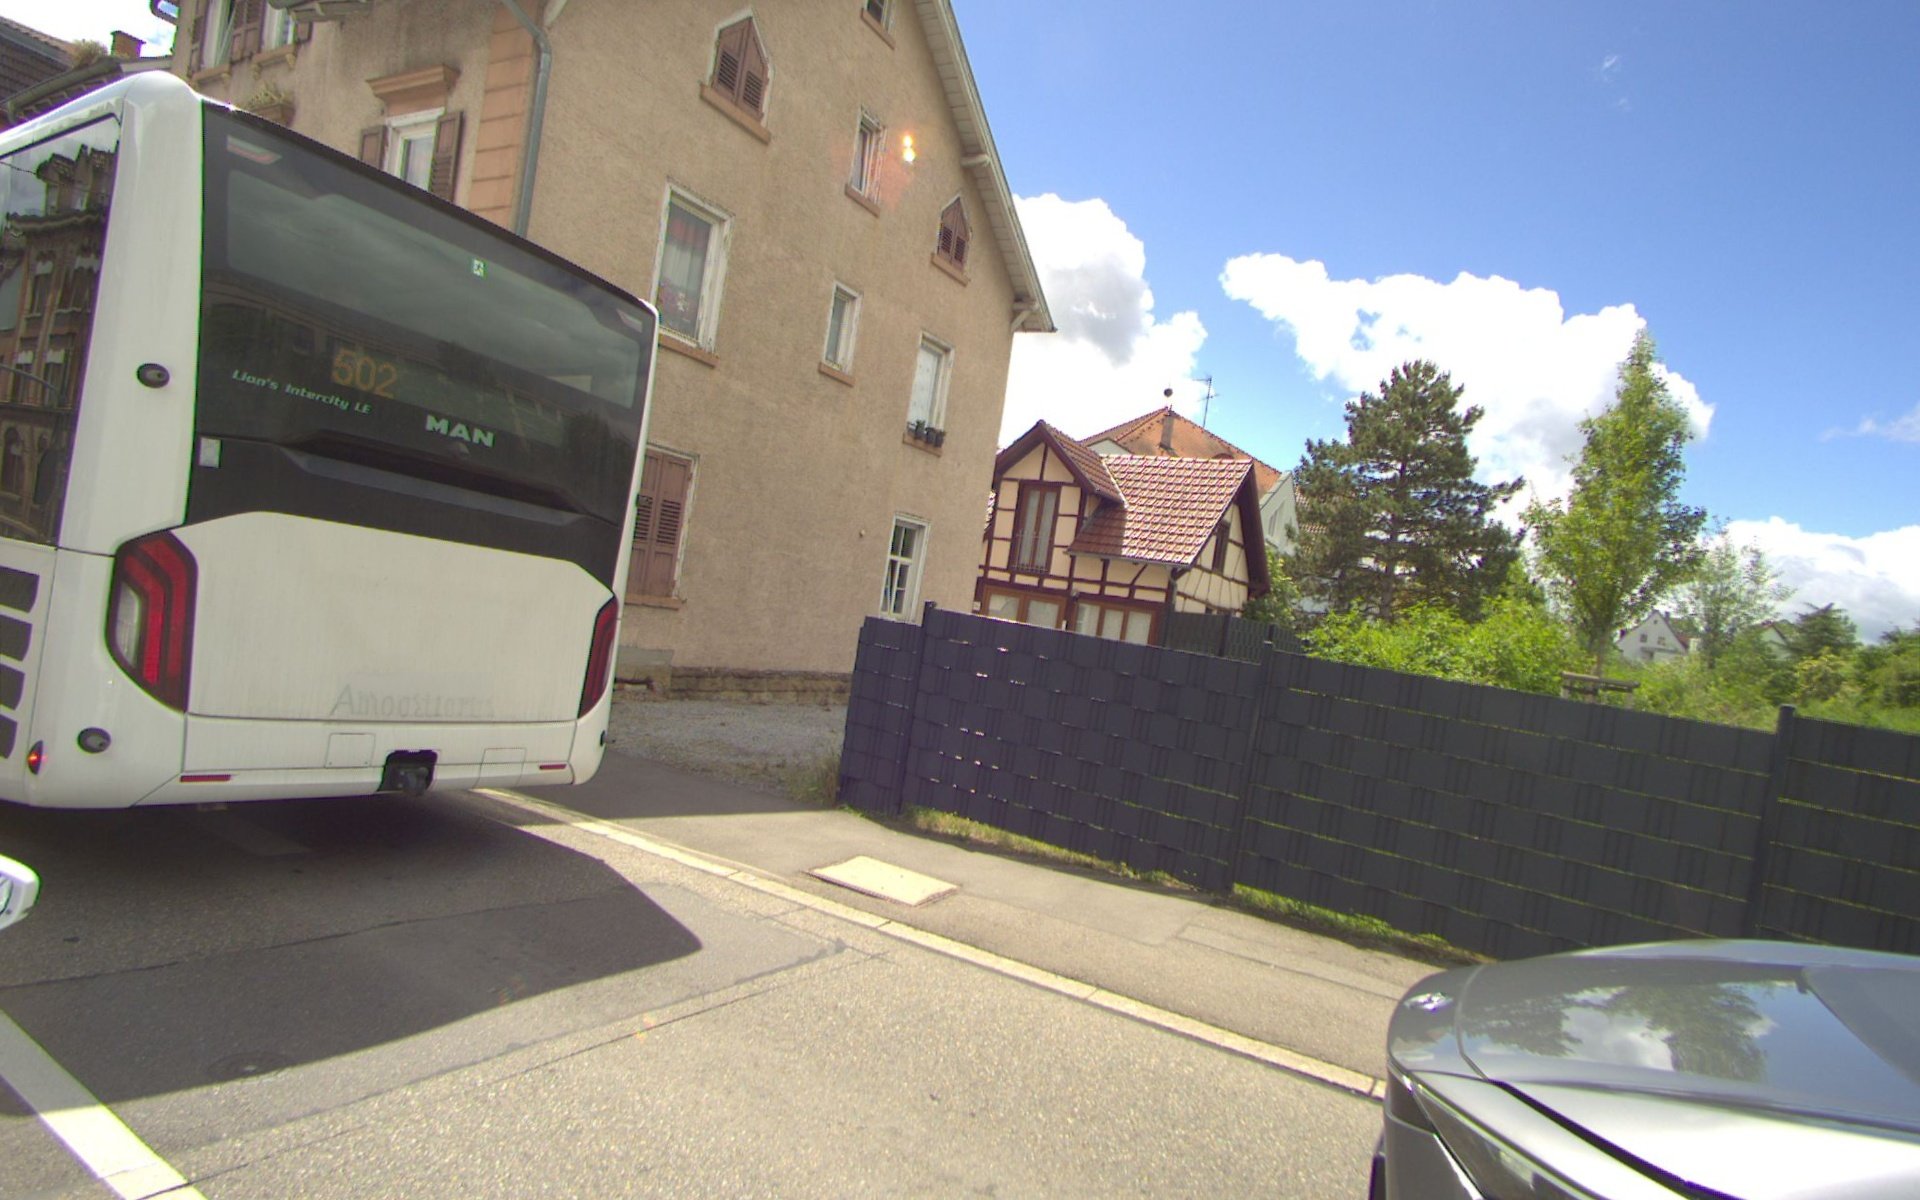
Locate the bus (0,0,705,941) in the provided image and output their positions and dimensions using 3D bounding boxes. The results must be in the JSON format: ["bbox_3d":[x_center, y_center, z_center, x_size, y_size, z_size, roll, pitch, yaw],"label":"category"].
[{"bbox_3d":[-7.438,-0.956,7.664,12.255,3.194,2.676,7,0,32],"label":"bus"}]

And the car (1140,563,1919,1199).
[{"bbox_3d":[2.702,1.107,1.064,4.605,1.631,1.924,7,-2,32],"label":"car"}]
